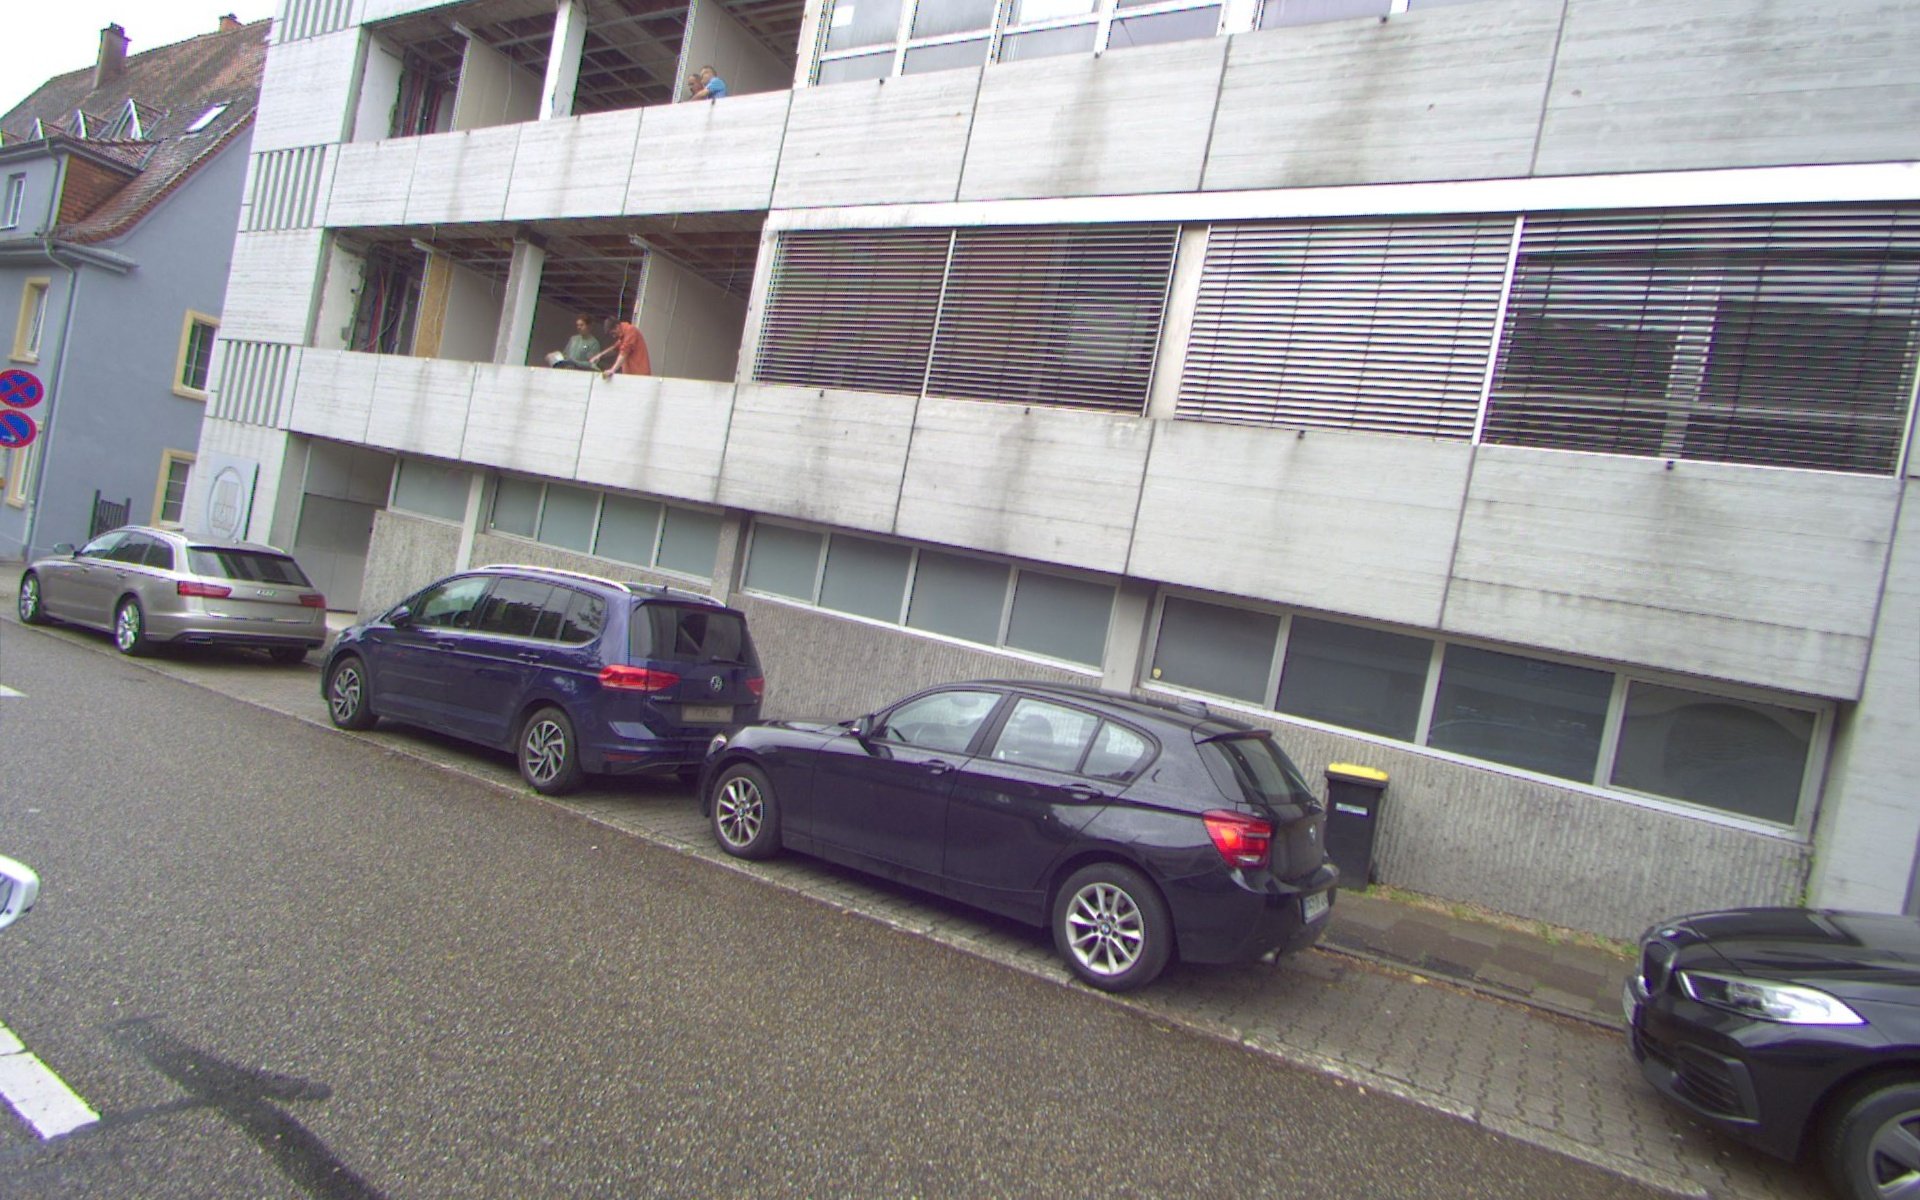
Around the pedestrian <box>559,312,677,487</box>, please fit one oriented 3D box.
[{"bbox_3d":[-4.509,-2.610,13.284,0.847,2.036,0.909,6,-2,31],"label":"pedestrian"}]

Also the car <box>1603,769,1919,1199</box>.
[{"bbox_3d":[5.033,1.778,3.574,4.367,1.451,1.999,7,-2,30],"label":"car"}]

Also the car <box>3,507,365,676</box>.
[{"bbox_3d":[-9.858,-0.130,12.715,4.449,1.465,1.967,7,-1,30],"label":"car"}]

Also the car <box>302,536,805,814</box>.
[{"bbox_3d":[-3.580,0.530,8.692,4.090,1.618,1.732,7,-1,30],"label":"car"}]

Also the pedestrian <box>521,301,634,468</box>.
[{"bbox_3d":[-5.310,-2.959,13.998,0.847,2.036,0.909,6,-2,31],"label":"pedestrian"}]

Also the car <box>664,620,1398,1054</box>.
[{"bbox_3d":[0.283,1.155,6.351,4.183,1.465,1.750,7,-1,34],"label":"car"}]
